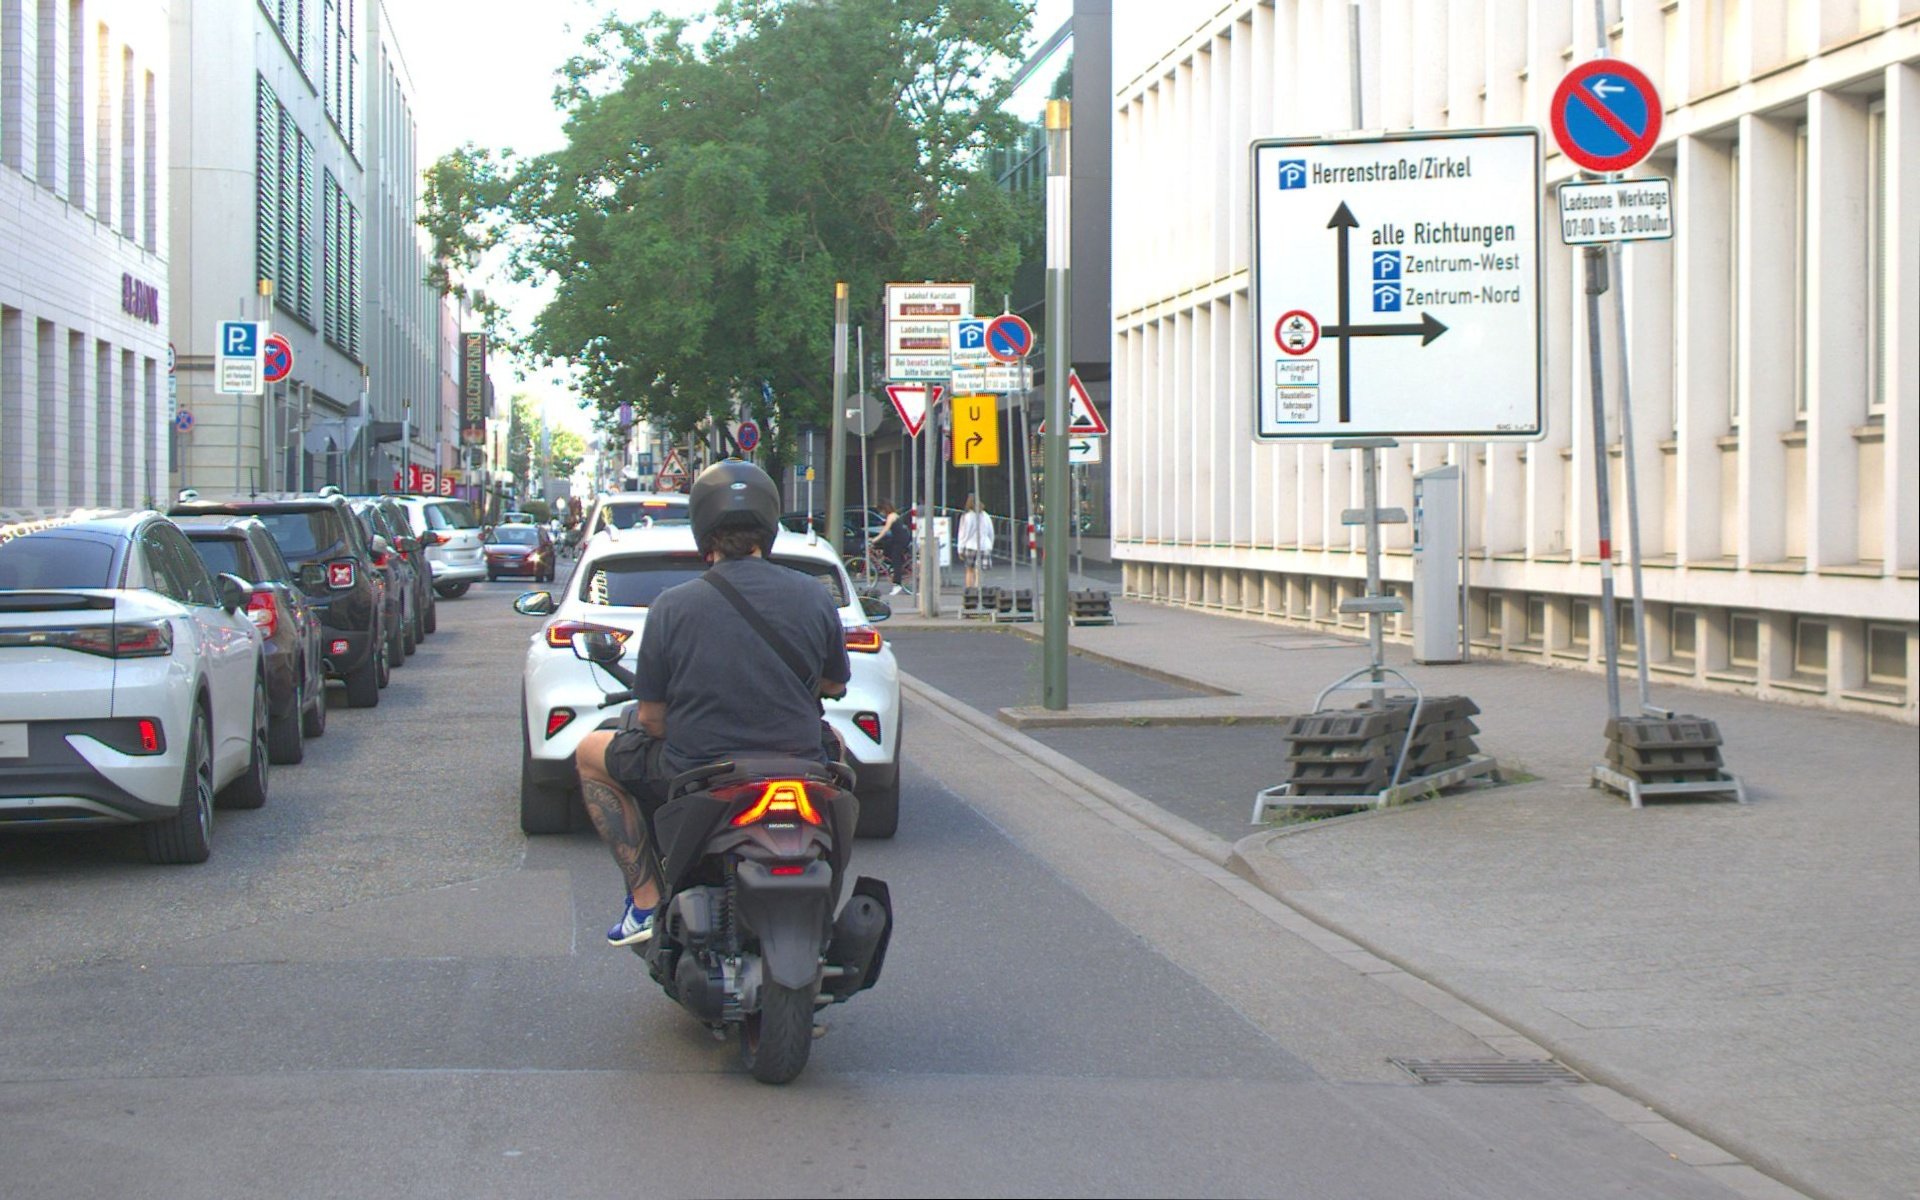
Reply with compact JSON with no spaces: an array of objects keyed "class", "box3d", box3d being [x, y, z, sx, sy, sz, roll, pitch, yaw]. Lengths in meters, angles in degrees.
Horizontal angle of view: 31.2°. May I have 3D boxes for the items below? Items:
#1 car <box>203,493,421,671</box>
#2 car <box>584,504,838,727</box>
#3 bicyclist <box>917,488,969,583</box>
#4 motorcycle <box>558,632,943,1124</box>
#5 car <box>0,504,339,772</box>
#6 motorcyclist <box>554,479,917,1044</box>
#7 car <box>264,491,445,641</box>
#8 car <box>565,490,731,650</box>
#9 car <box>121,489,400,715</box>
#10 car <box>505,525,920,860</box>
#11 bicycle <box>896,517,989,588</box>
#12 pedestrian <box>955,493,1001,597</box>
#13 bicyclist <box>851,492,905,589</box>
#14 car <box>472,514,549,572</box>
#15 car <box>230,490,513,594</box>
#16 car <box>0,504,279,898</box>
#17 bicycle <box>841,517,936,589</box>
[{"class":"car","box3d":[-6.290,-0.219,33.676,1.776,1.601,3.516,-2,2,-6]},{"class":"car","box3d":[-1.945,0.050,26.333,1.773,1.545,4.107,-1,2,-5]},{"class":"bicyclist","box3d":[-0.303,-1.157,61.598,0.747,1.700,0.736,0,1,15]},{"class":"motorcycle","box3d":[-0.694,0.737,10.294,0.905,1.179,2.579,-1,2,-9]},{"class":"car","box3d":[-5.033,0.171,21.942,1.810,1.522,3.516,-2,2,-6]},{"class":"motorcyclist","box3d":[-0.693,0.429,10.187,0.954,1.554,1.239,-1,2,-9]},{"class":"car","box3d":[-6.928,-0.427,39.593,1.776,1.601,3.516,-2,2,-6]},{"class":"car","box3d":[-3.873,-0.409,42.388,1.924,1.850,4.001,-1,2,-6]},{"class":"car","box3d":[-5.505,-0.041,27.417,1.810,1.640,3.516,-2,2,-6]},{"class":"car","box3d":[-1.239,0.383,17.716,1.859,1.467,4.001,1,1,-3]},{"class":"bicycle","box3d":[-0.307,-0.846,61.570,1.564,1.245,0.552,0,2,15]},{"class":"pedestrian","box3d":[0.276,-0.853,52.940,0.643,1.596,0.620,-1,1,-4]},{"class":"bicyclist","box3d":[-1.439,-1.046,60.301,0.747,1.700,0.736,0,1,15]},{"class":"car","box3d":[-11.840,-1.521,90.668,1.947,1.465,3.516,-1,2,-7]},{"class":"car","box3d":[-9.262,-0.923,54.106,3.992,1.590,1.902,1,1,23]},{"class":"car","box3d":[-4.360,0.370,16.284,1.810,1.601,4.269,-2,2,-6]},{"class":"bicycle","box3d":[-1.248,-0.817,60.262,1.564,1.245,0.552,0,2,15]}]
